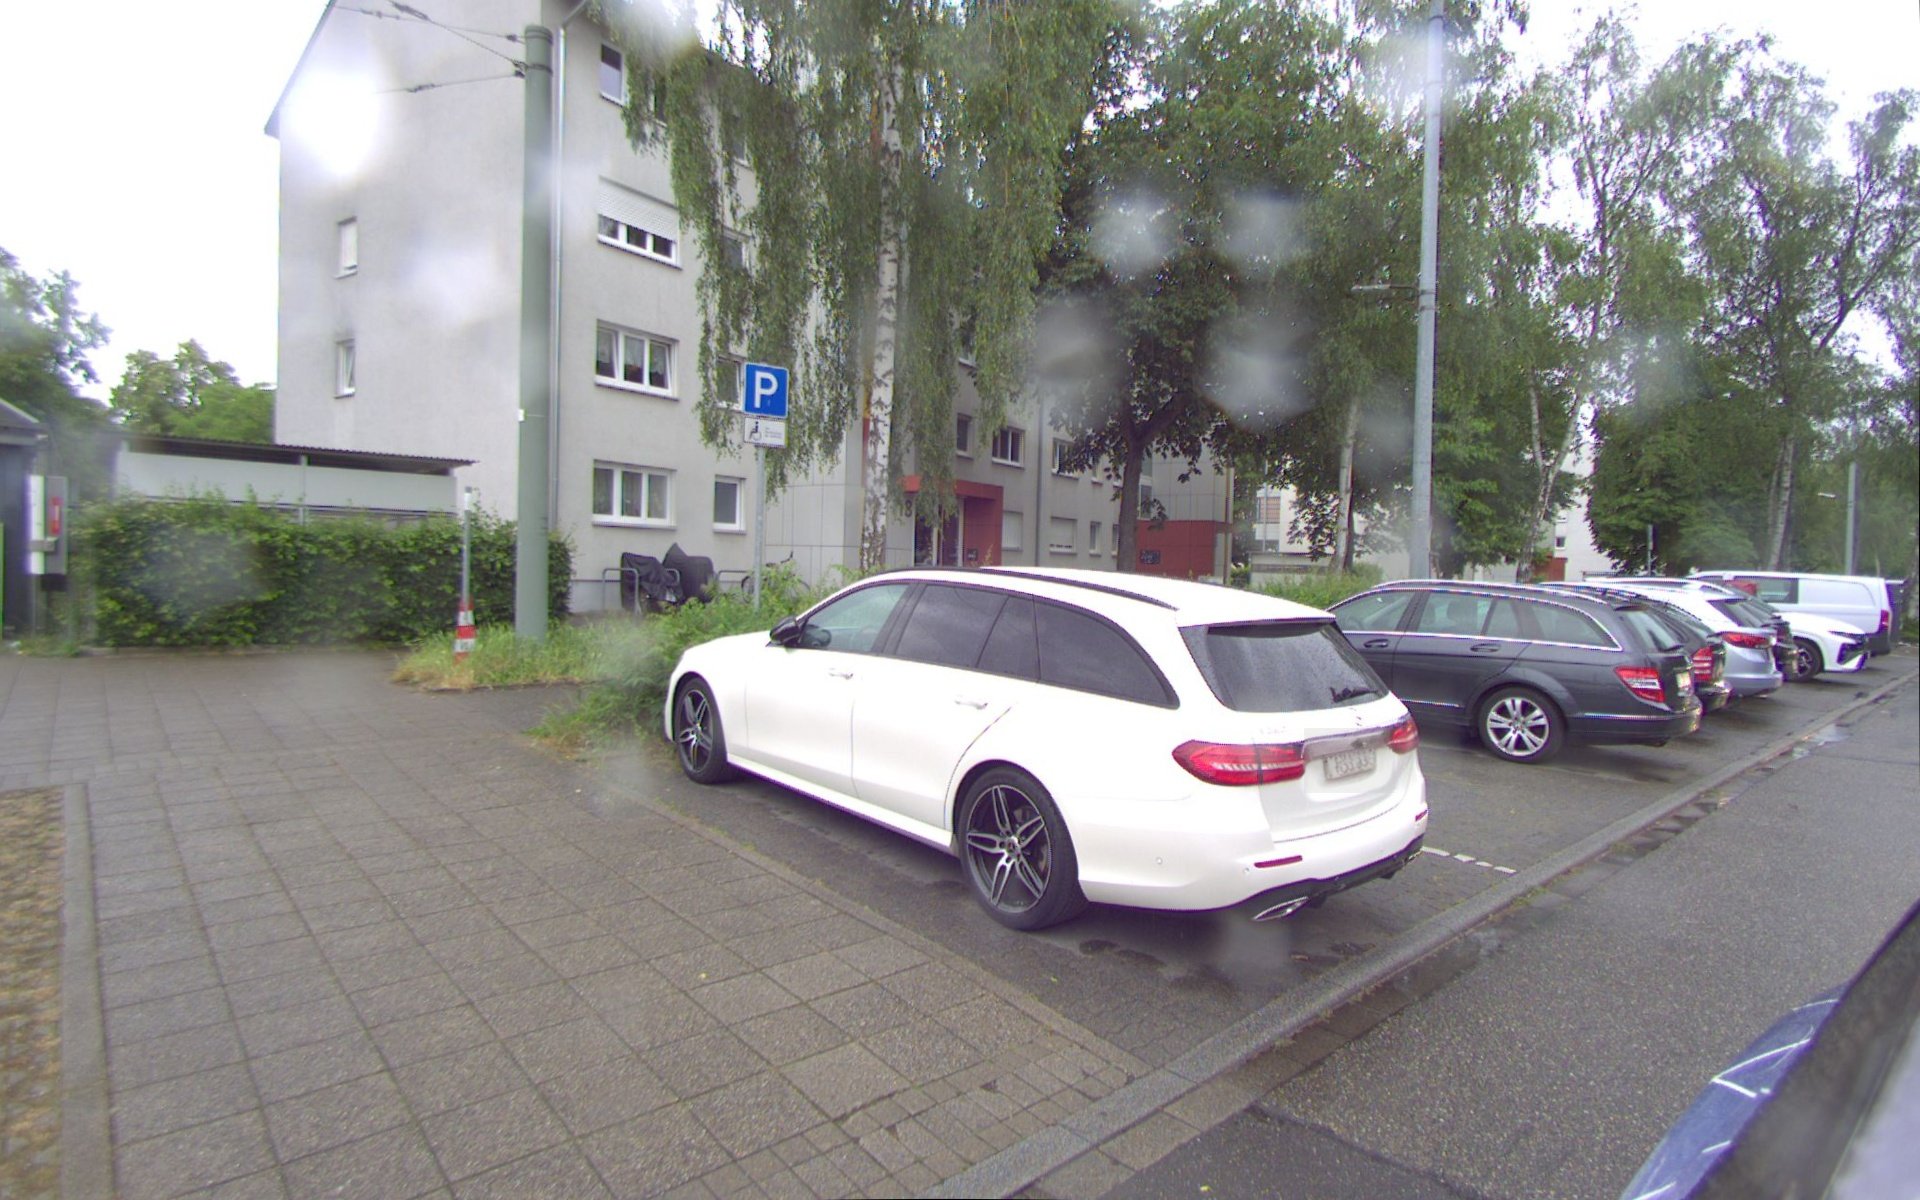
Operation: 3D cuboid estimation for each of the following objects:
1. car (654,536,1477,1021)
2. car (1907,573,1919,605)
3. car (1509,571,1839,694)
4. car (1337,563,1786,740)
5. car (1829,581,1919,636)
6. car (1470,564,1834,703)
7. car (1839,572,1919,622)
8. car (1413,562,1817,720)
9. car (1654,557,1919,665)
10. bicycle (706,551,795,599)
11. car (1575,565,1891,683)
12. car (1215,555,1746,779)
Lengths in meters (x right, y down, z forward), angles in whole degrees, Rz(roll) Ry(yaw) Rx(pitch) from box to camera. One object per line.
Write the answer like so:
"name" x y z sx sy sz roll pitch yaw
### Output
"car" 0.081 0.471 5.602 1.651 1.456 4.622 -1 5 -41
"car" 53.233 -0.604 53.775 1.866 1.701 3.998 -1 1 -36
"car" 11.369 0.402 16.332 1.653 1.514 4.044 -1 5 -43
"car" 6.645 0.416 11.525 1.653 1.456 4.044 -1 5 -43
"car" 34.430 0.287 36.789 1.866 1.937 3.998 -1 0 -36
"car" 9.863 0.356 14.669 1.653 1.514 4.044 -1 5 -43
"car" 37.762 -0.138 40.208 1.866 1.937 3.998 -1 0 -36
"car" 8.255 0.384 13.040 1.653 1.514 4.044 -1 5 -43
"car" 17.551 0.141 21.648 4.172 1.888 1.654 6 5 43
"bicycle" -4.521 -0.529 21.962 0.701 1.005 1.918 0 0 37
"car" 13.698 0.324 18.163 1.651 1.637 4.181 0 5 -40
"car" 4.614 0.417 9.448 1.653 1.456 4.044 -1 5 -43
